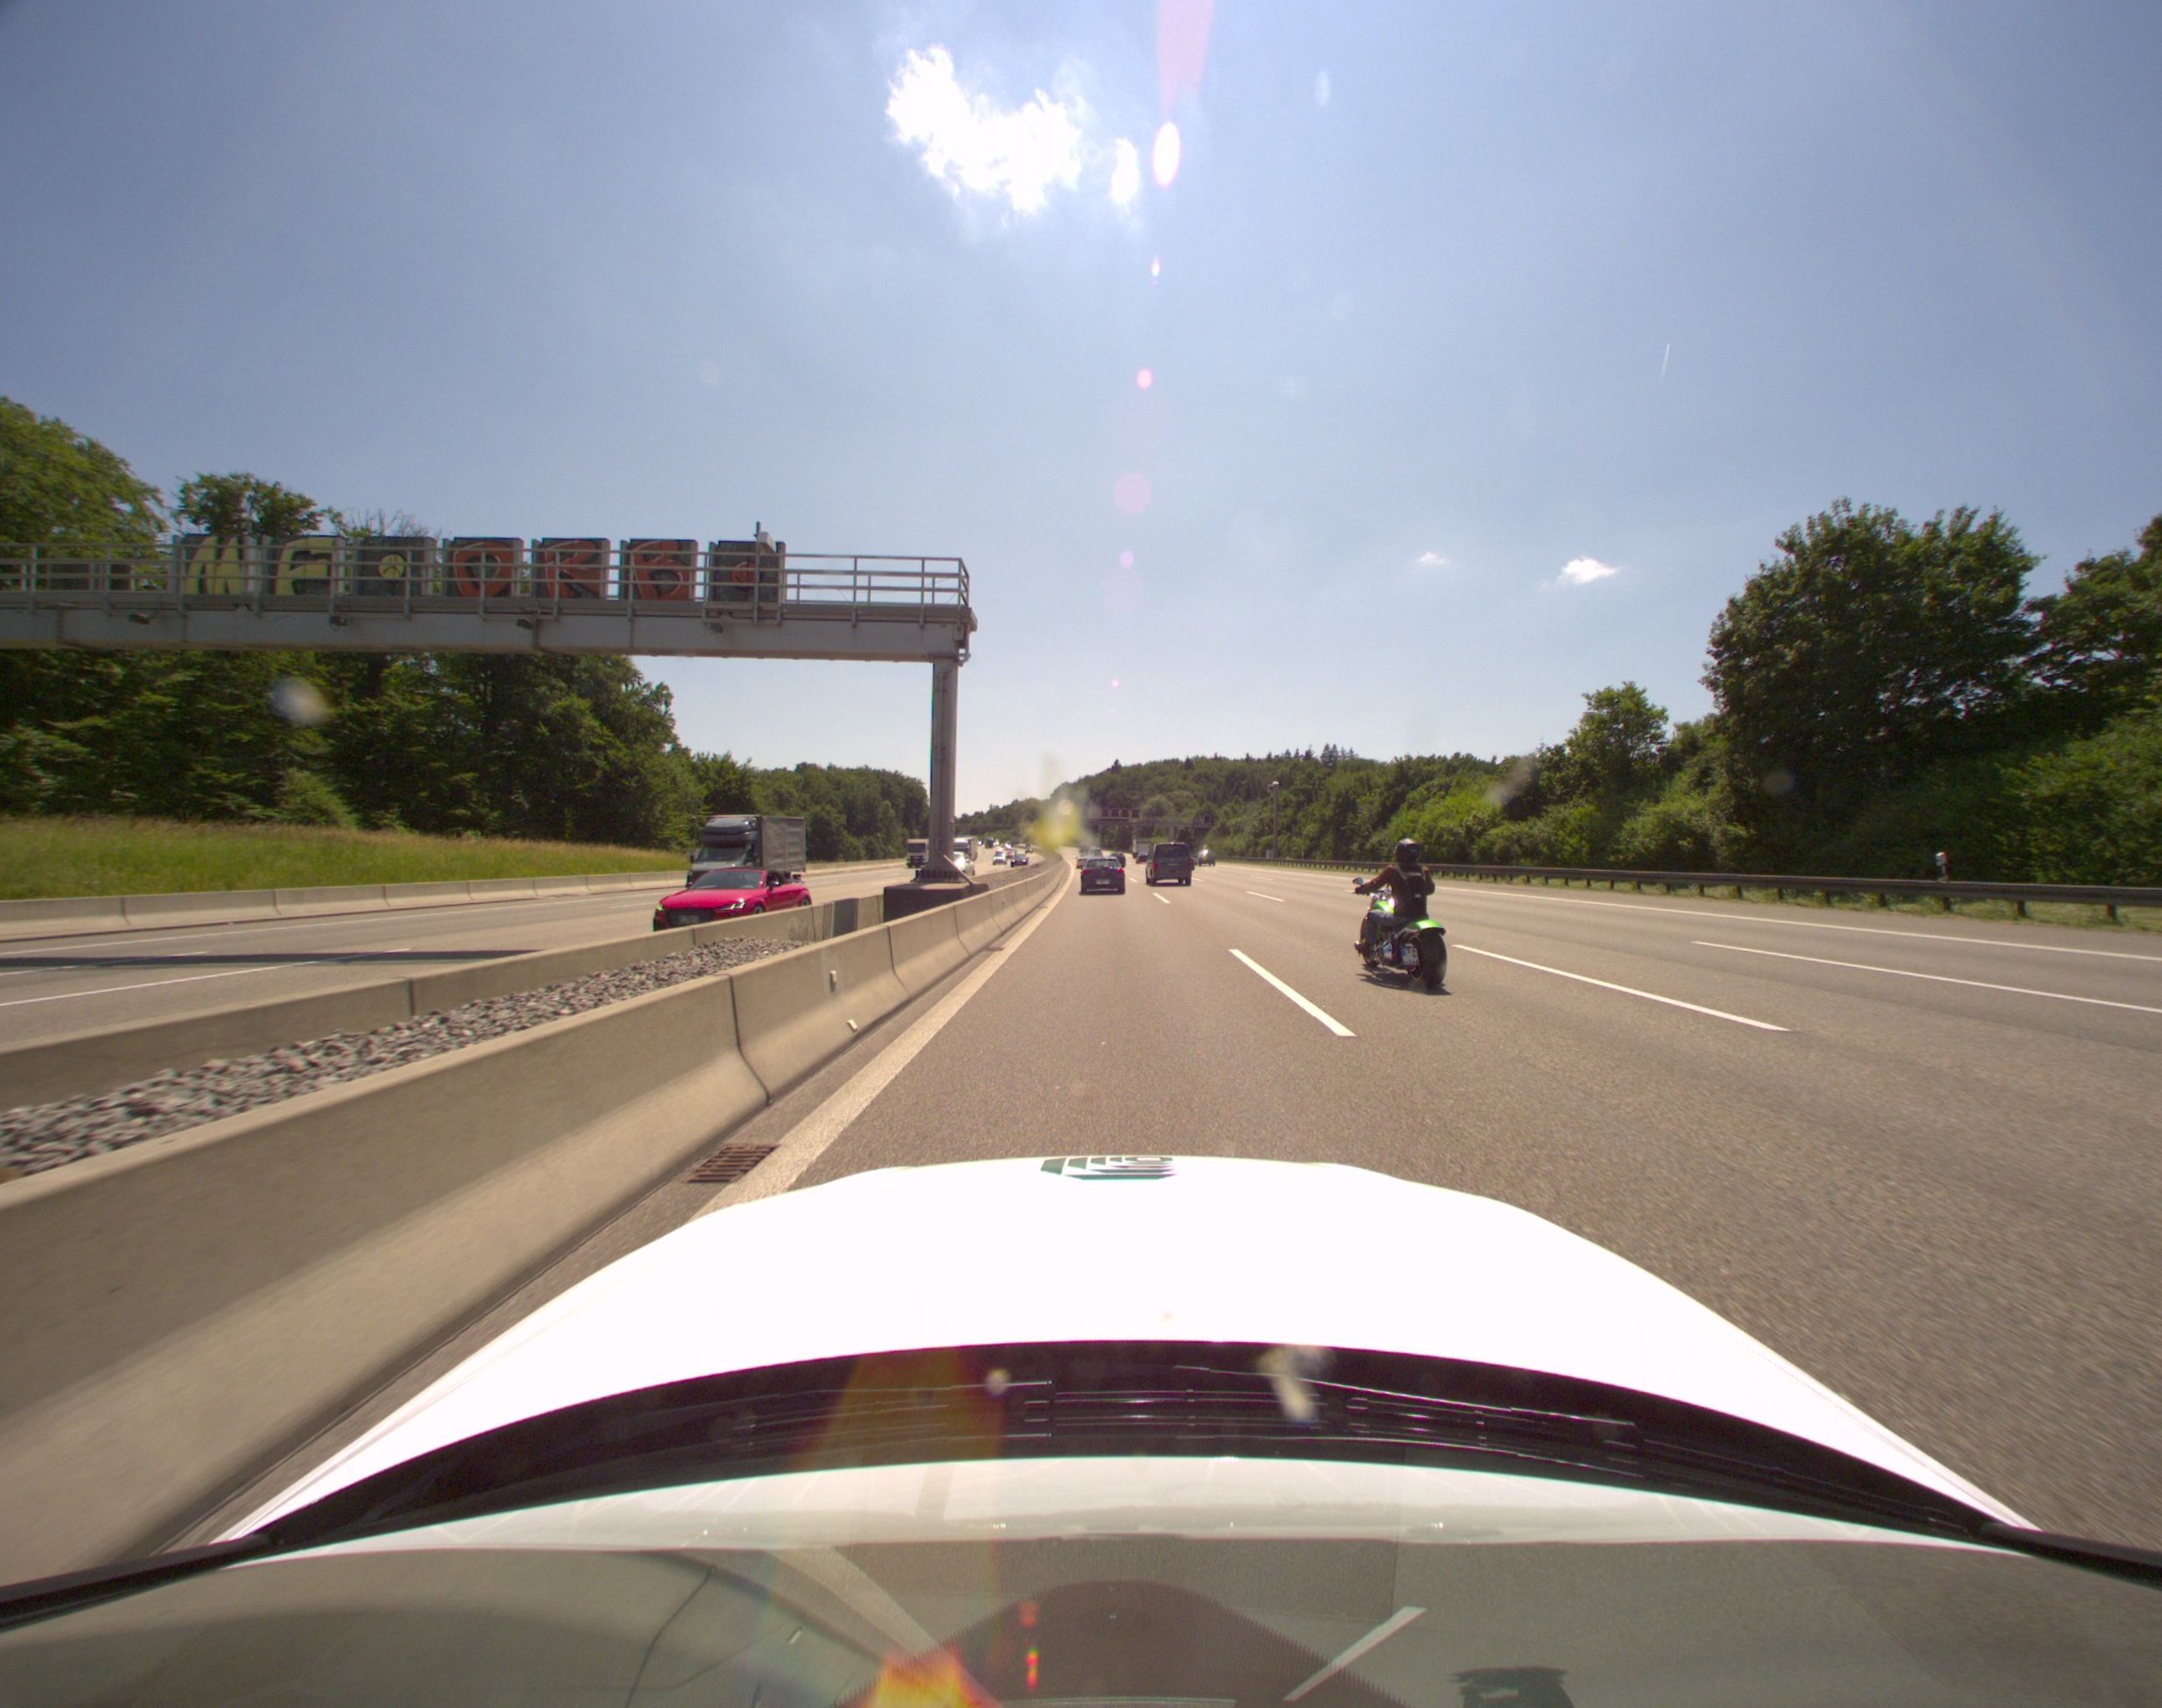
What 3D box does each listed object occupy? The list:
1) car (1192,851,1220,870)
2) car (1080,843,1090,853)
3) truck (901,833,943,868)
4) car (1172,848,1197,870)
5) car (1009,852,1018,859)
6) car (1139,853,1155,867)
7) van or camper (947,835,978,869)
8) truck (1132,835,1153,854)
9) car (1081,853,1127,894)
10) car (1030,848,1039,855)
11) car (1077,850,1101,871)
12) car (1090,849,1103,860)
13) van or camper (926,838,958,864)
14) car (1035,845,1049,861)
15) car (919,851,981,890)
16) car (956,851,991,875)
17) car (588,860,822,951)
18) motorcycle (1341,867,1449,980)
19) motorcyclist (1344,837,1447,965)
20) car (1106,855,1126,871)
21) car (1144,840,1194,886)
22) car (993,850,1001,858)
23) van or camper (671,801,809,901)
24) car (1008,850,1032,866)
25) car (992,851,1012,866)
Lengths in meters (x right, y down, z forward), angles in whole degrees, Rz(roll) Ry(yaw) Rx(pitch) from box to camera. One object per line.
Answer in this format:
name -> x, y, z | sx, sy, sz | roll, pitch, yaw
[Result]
car -> 12.245, 0.635, 79.944 | 1.988, 1.728, 3.997 | -1, -1, -2
car -> 1.045, -1.563, 206.675 | 2.257, 2.371, 4.703 | -1, 0, 1
truck -> -17.930, -0.284, 92.538 | 2.859, 3.697, 9.240 | 0, -1, 1
car -> 8.372, 0.388, 66.050 | 1.841, 1.728, 4.005 | -1, 0, 5
car -> -15.049, 0.324, 180.746 | 1.756, 1.520, 4.358 | 0, -1, -2
car -> 7.845, 0.698, 97.455 | 1.659, 1.408, 4.905 | -1, 1, 2
van or camper -> -14.054, -0.189, 97.216 | 2.823, 3.839, 8.206 | 0, -1, -3
truck -> 10.191, -1.642, 136.255 | 2.976, 3.166, 7.575 | -1, 1, 0
car -> 0.910, 0.724, 32.265 | 1.701, 1.433, 4.002 | 0, 1, 1
car -> -11.624, -0.641, 204.231 | 1.988, 1.667, 4.431 | -1, 0, -2
car -> 0.791, 0.613, 77.592 | 2.003, 1.846, 4.004 | -1, -2, 5
car -> 2.585, 0.029, 137.274 | 2.096, 1.744, 4.687 | -1, 1, 0
van or camper -> -18.128, -0.329, 106.901 | 2.755, 3.125, 8.093 | 0, -1, 0
car -> -6.242, -0.113, 131.486 | 1.987, 2.575, 4.169 | 0, -1, 1
car -> -6.170, 0.761, 38.982 | 1.981, 1.737, 5.346 | 0, 0, 1
car -> -8.246, 0.685, 62.820 | 1.986, 1.728, 4.002 | -1, 0, 2
car -> -7.043, 0.874, 16.063 | 2.040, 1.442, 5.223 | -1, 0, 2
motorcycle -> 3.741, 0.767, 9.916 | 0.533, 1.135, 2.440 | -1, 0, 5
motorcyclist -> 3.690, 0.524, 9.639 | 0.849, 1.427, 1.024 | -1, 0, 4
car -> 3.907, 1.004, 91.405 | 1.988, 1.728, 4.147 | -1, 0, -1
car -> 4.188, 0.396, 39.369 | 1.956, 2.033, 5.084 | -1, 0, 1
car -> -22.597, -0.048, 218.618 | 1.991, 2.013, 3.992 | -1, 0, -6
van or camper -> -13.917, -0.102, 34.040 | 2.422, 3.678, 7.758 | -1, 0, 0
car -> -6.559, 0.436, 88.092 | 1.986, 1.590, 4.846 | -1, 0, 2
car -> -10.070, 0.555, 104.256 | 2.281, 1.728, 5.026 | -1, 0, -2
